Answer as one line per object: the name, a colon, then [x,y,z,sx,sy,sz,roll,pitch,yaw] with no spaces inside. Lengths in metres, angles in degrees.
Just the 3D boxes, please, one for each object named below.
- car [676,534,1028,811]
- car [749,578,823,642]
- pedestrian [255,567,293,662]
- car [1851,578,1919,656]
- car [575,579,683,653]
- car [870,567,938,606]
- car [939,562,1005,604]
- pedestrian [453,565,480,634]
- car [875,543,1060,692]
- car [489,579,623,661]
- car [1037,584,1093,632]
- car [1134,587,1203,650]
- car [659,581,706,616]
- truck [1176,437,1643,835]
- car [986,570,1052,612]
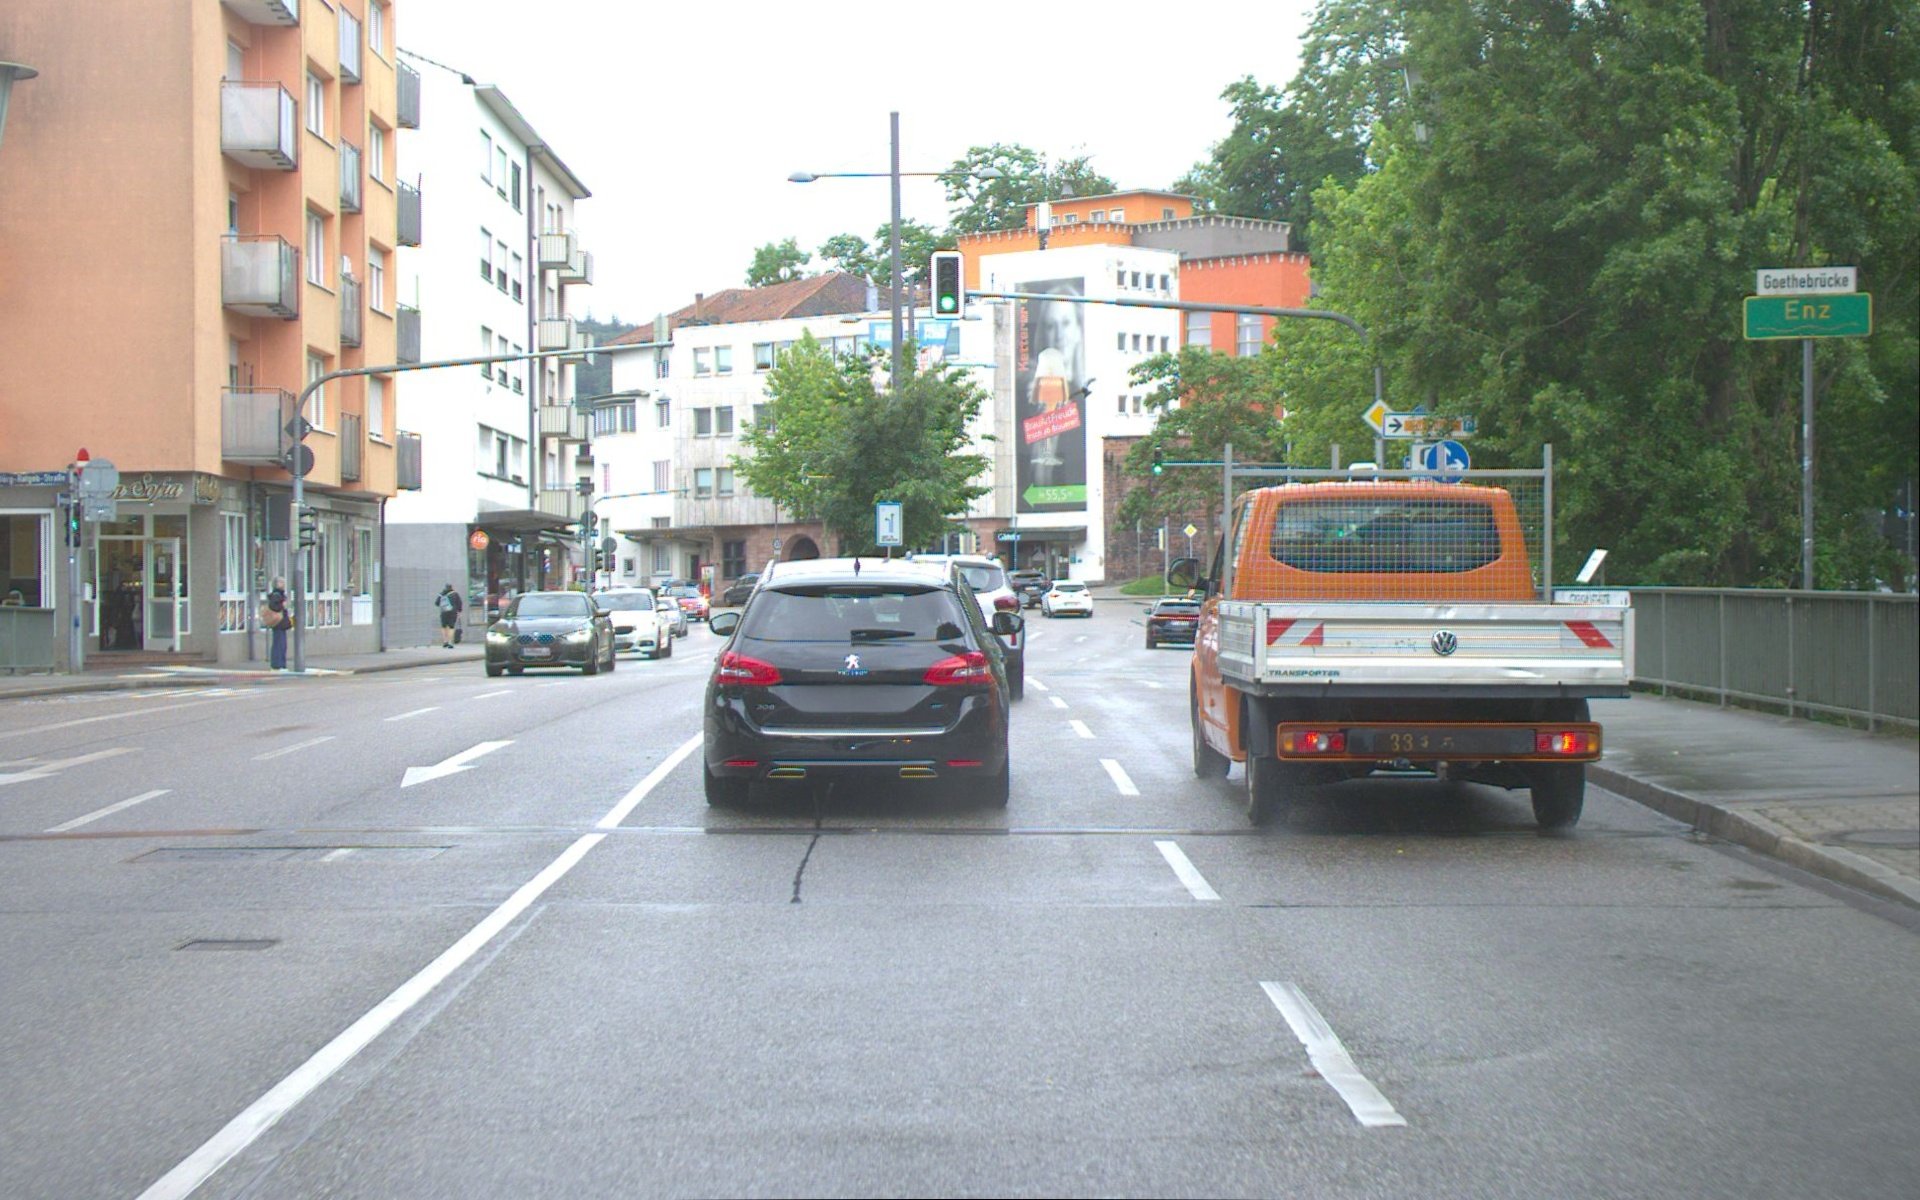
car: [-0.559,0.424,21.034,1.795,1.478,3.999,2,-1,3]
car: [-4.552,0.248,90.352,1.736,1.596,3.919,-1,0,0]
pedestrian: [-12.499,0.263,62.606,0.530,1.721,0.648,0,0,4]
car: [26.942,0.501,98.054,1.902,2.007,3.726,3,-2,-2]
car: [-6.988,0.315,72.962,1.836,1.505,4.820,0,0,0]
car: [-2.490,-0.597,152.718,1.644,1.559,3.600,4,-2,-25]
car: [0.478,-0.689,141.509,1.993,1.678,4.001,0,0,-11]
pedestrian: [-13.351,-0.009,93.016,0.639,1.855,0.524,1,0,-2]
car: [0.129,0.179,36.126,1.795,1.478,4.000,0,0,2]
car: [-6.787,0.321,58.116,1.791,1.321,4.407,0,0,-1]
car: [4.080,0.283,134.251,1.993,1.815,4.000,1,0,0]
car: [5.805,0.540,95.995,1.645,1.559,3.599,3,-2,0]
car: [-11.375,-0.067,141.110,1.665,1.395,3.877,-1,0,-1]
truck: [2.474,0.157,20.151,2.122,2.018,4.716,1,1,1]
car: [2.475,-0.356,144.120,1.644,1.559,3.601,4,-2,-17]
